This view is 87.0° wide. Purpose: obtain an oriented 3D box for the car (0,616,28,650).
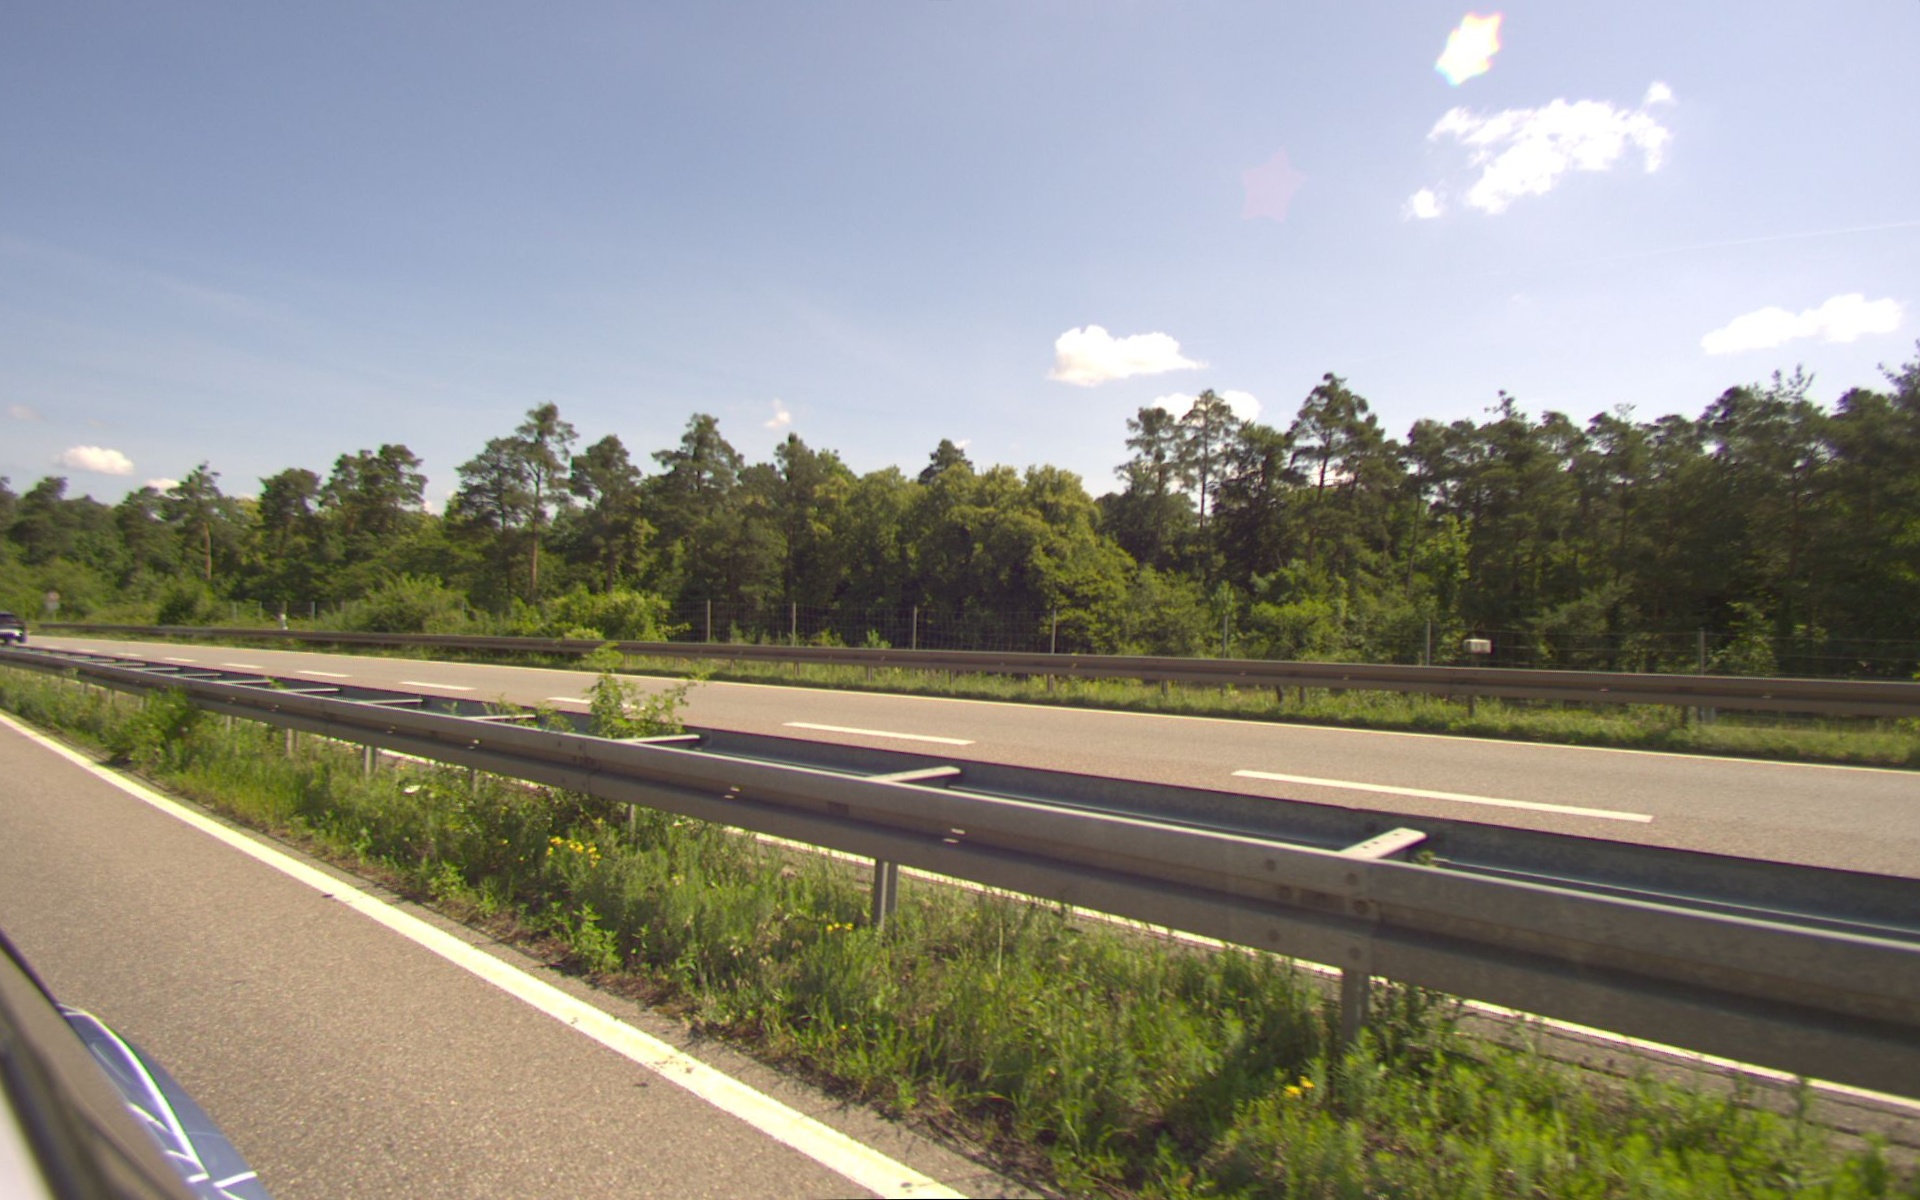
[{"bbox_3d":[-45.111,1.528,47.159,4.566,1.512,1.739,-1,0,37],"label":"car"}]
